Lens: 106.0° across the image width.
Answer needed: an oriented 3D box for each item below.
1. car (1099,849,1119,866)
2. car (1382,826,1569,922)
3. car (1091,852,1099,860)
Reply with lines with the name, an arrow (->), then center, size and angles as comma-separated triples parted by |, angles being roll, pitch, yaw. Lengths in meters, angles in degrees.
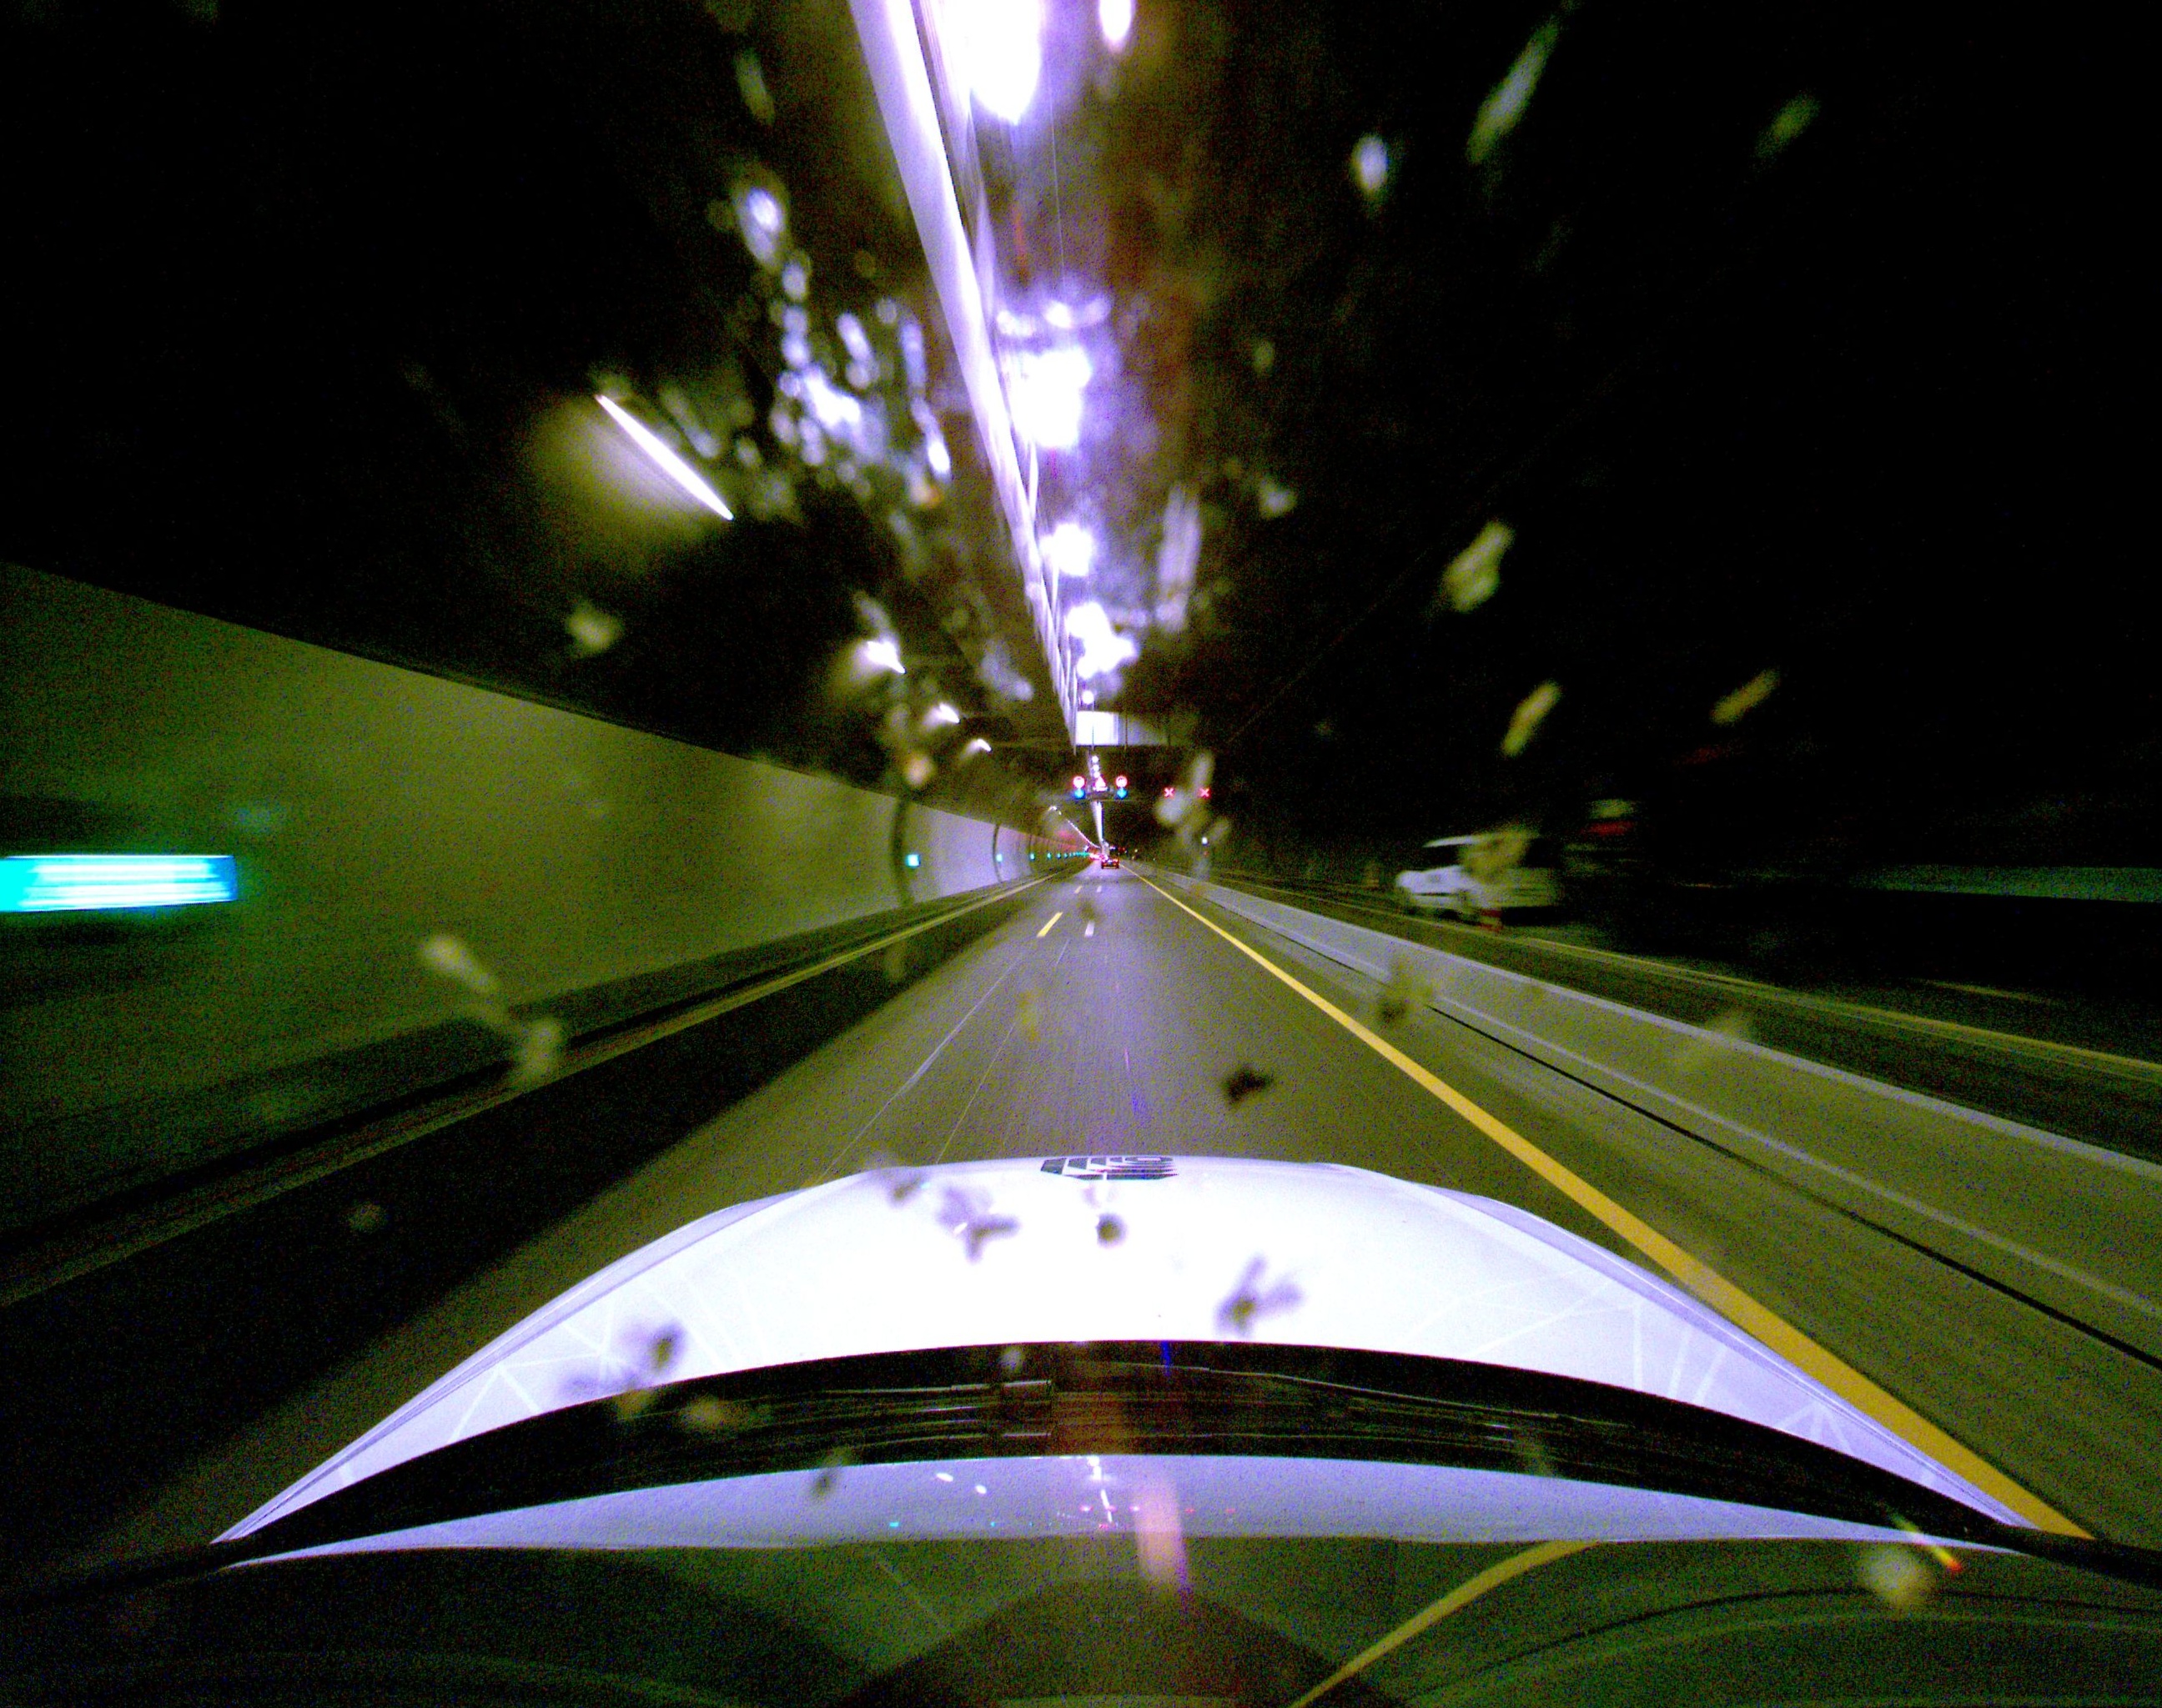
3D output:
car -> 2.962, 0.336, 86.184 | 1.940, 1.794, 4.000 | -1, 0, 0
car -> 8.558, 0.385, 18.212 | 1.746, 1.845, 4.641 | -1, 0, -2
car -> 3.361, 0.493, 193.569 | 1.923, 1.687, 4.002 | -1, 0, 2
